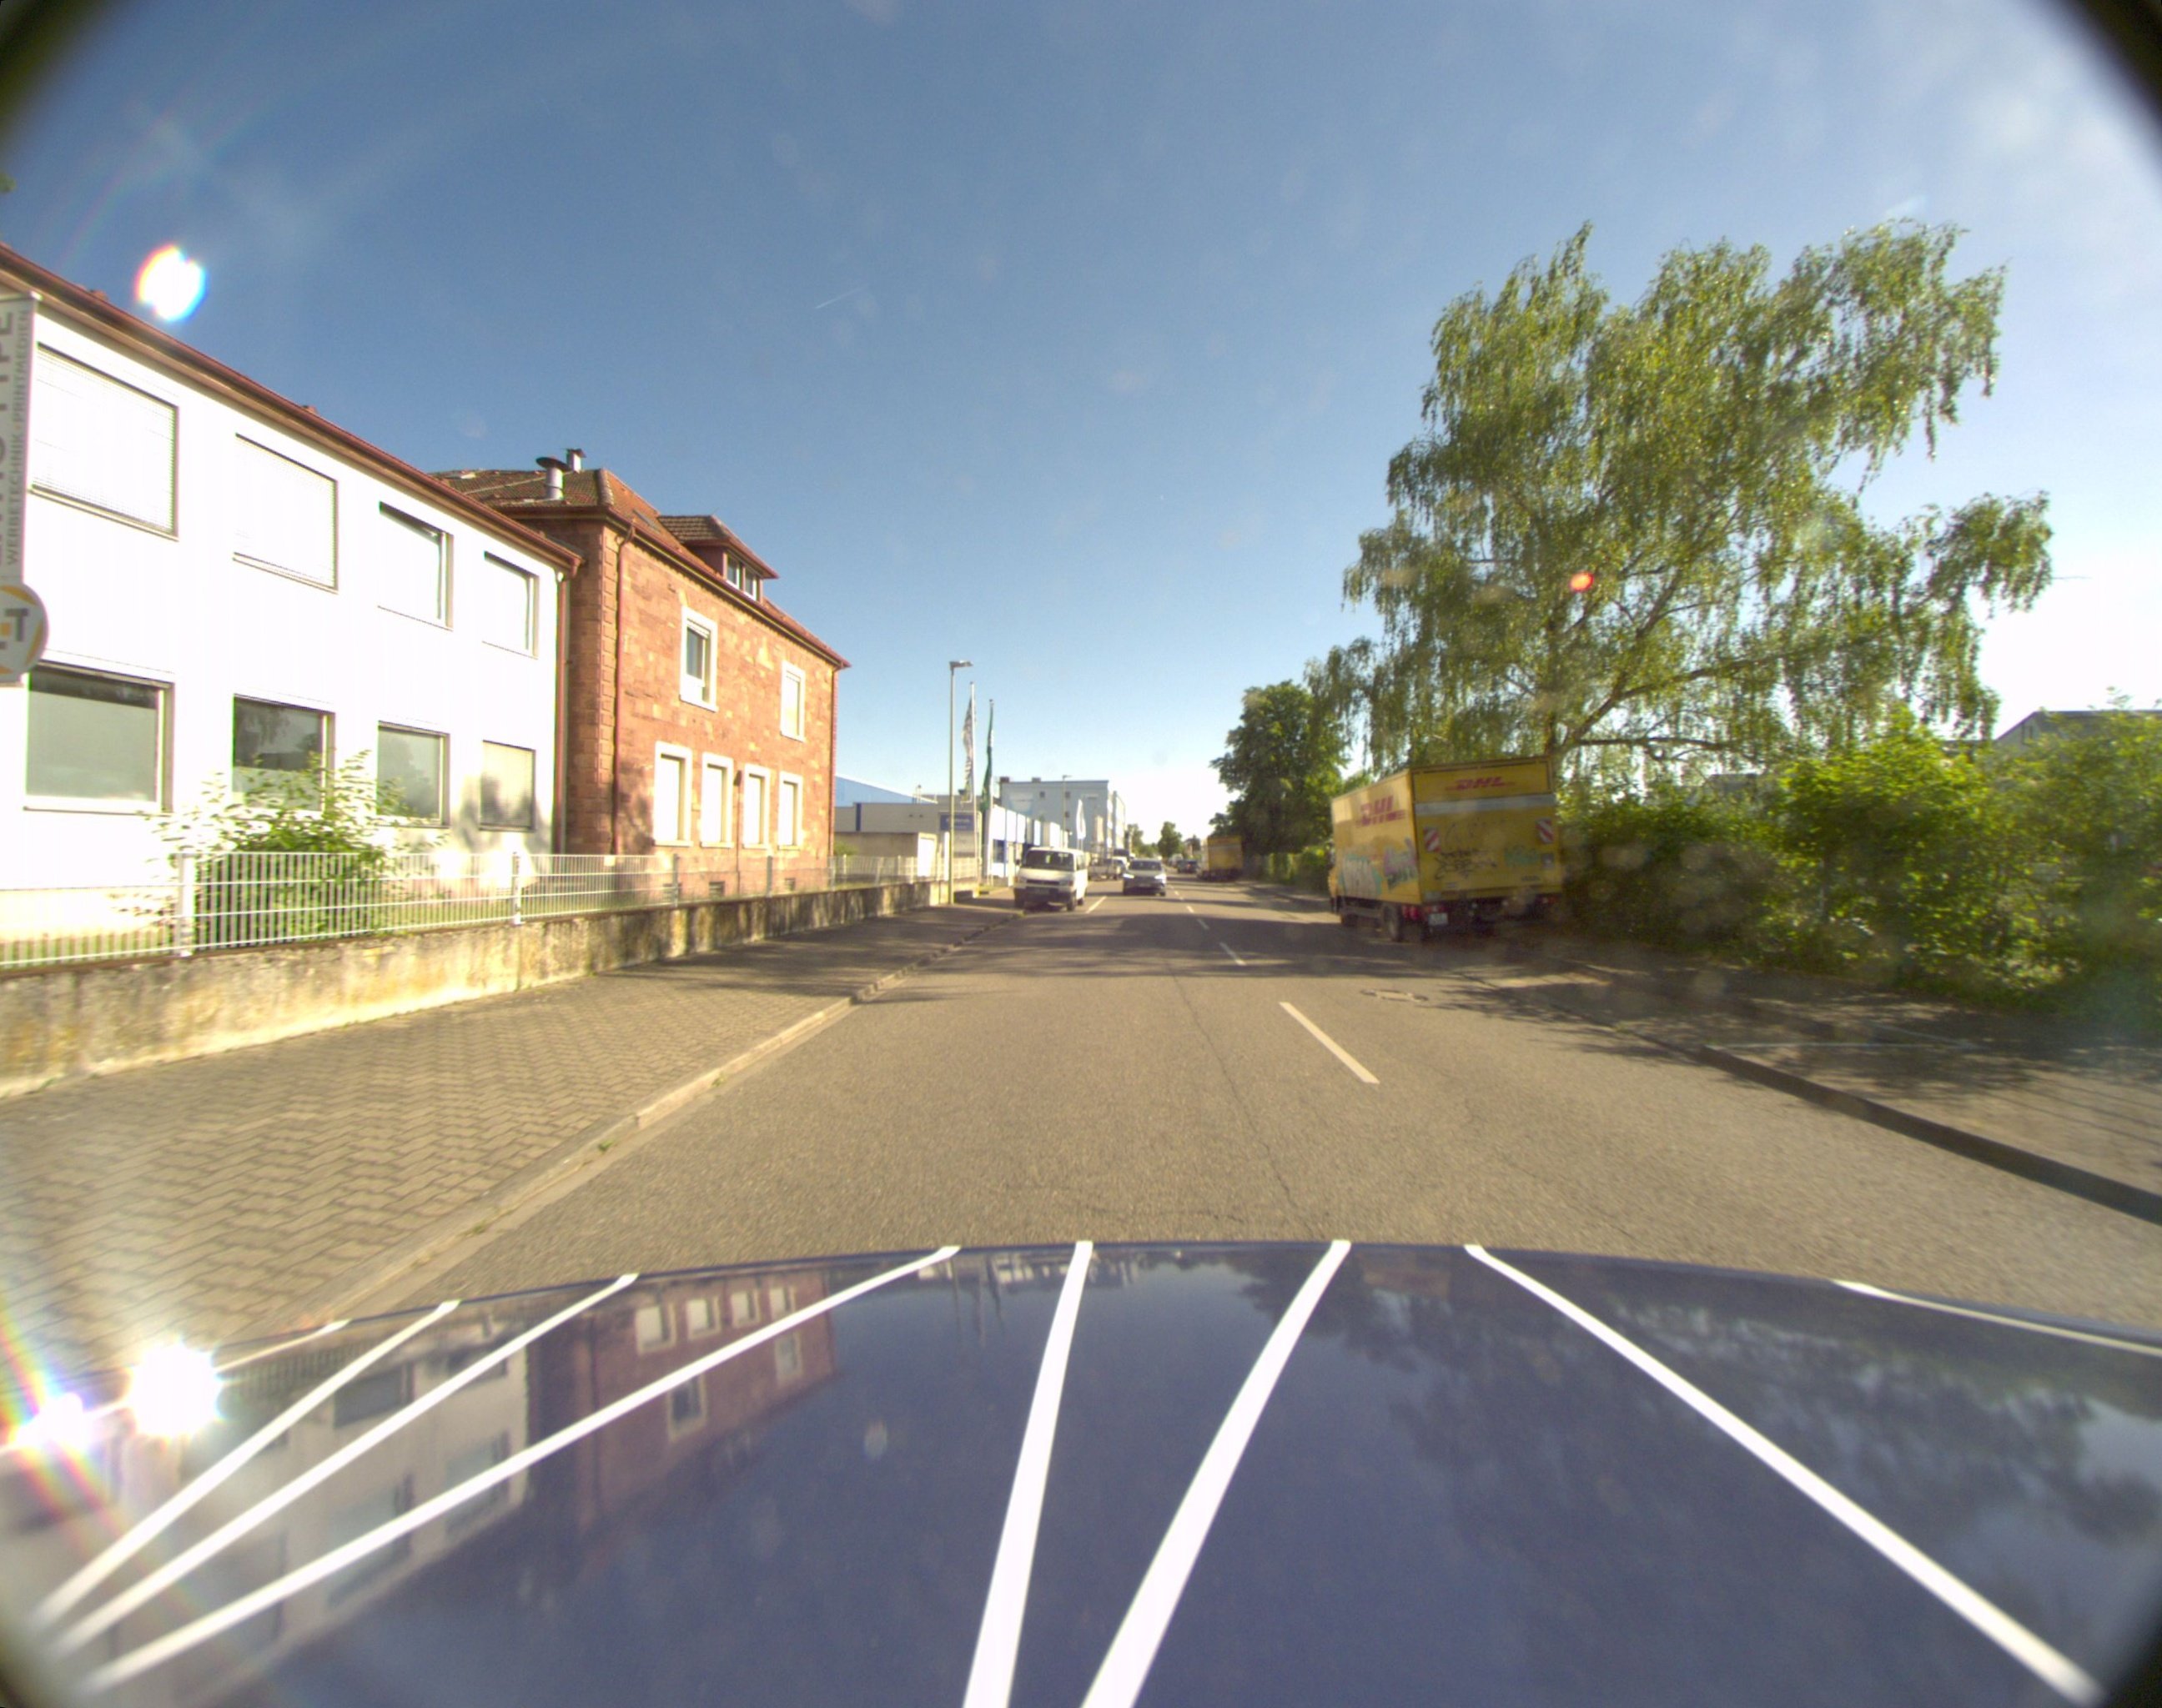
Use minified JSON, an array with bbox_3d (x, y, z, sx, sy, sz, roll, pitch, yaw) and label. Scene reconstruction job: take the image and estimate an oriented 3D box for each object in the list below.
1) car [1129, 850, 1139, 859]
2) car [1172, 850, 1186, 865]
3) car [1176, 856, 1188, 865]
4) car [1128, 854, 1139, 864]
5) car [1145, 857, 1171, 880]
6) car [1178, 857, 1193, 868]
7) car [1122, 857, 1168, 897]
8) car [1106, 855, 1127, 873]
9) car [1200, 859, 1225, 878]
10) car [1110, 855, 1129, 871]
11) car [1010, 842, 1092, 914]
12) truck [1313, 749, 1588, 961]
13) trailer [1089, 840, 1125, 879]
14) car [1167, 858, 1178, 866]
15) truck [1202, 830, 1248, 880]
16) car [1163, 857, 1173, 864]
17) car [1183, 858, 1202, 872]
[{"bbox_3d":[10.207,0.061,147.171,1.849,1.621,4.297,2,0,5],"label":"car"},{"bbox_3d":[19.807,0.737,153.942,2.172,2.974,6.342,2,0,1],"label":"car"},{"bbox_3d":[18.637,1.211,140.816,1.850,1.621,4.296,2,0,3],"label":"car"},{"bbox_3d":[9.306,0.855,134.400,1.849,1.621,4.297,2,0,5],"label":"car"},{"bbox_3d":[5.901,1.098,58.284,1.849,1.621,4.297,2,0,6],"label":"car"},{"bbox_3d":[16.547,1.375,120.217,1.850,1.621,4.296,2,0,3],"label":"car"},{"bbox_3d":[2.905,0.970,33.936,1.849,1.621,4.297,2,0,6],"label":"car"},{"bbox_3d":[3.462,0.940,73.012,1.849,1.695,4.297,2,0,5],"label":"car"},{"bbox_3d":[12.111,1.343,70.348,1.849,1.621,4.297,2,0,5],"label":"car"},{"bbox_3d":[4.068,0.949,80.061,1.849,1.621,4.297,2,0,5],"label":"car"},{"bbox_3d":[-0.839,0.703,24.212,1.849,2.002,4.717,-2,0,6],"label":"car"},{"bbox_3d":[7.746,0.051,17.450,2.847,3.598,8.010,-3,0,5],"label":"truck"},{"bbox_3d":[1.916,0.393,55.114,2.160,2.701,4.200,2,0,7],"label":"trailer"},{"bbox_3d":[20.721,1.744,171.868,1.850,1.621,4.295,2,0,1],"label":"car"},{"bbox_3d":[11.545,0.073,61.532,2.795,3.736,7.901,2,0,5],"label":"truck"},{"bbox_3d":[21.965,1.573,191.758,1.850,1.621,4.295,2,0,-1],"label":"car"},{"bbox_3d":[13.692,1.279,93.393,1.850,1.621,4.296,2,0,3],"label":"car"}]
